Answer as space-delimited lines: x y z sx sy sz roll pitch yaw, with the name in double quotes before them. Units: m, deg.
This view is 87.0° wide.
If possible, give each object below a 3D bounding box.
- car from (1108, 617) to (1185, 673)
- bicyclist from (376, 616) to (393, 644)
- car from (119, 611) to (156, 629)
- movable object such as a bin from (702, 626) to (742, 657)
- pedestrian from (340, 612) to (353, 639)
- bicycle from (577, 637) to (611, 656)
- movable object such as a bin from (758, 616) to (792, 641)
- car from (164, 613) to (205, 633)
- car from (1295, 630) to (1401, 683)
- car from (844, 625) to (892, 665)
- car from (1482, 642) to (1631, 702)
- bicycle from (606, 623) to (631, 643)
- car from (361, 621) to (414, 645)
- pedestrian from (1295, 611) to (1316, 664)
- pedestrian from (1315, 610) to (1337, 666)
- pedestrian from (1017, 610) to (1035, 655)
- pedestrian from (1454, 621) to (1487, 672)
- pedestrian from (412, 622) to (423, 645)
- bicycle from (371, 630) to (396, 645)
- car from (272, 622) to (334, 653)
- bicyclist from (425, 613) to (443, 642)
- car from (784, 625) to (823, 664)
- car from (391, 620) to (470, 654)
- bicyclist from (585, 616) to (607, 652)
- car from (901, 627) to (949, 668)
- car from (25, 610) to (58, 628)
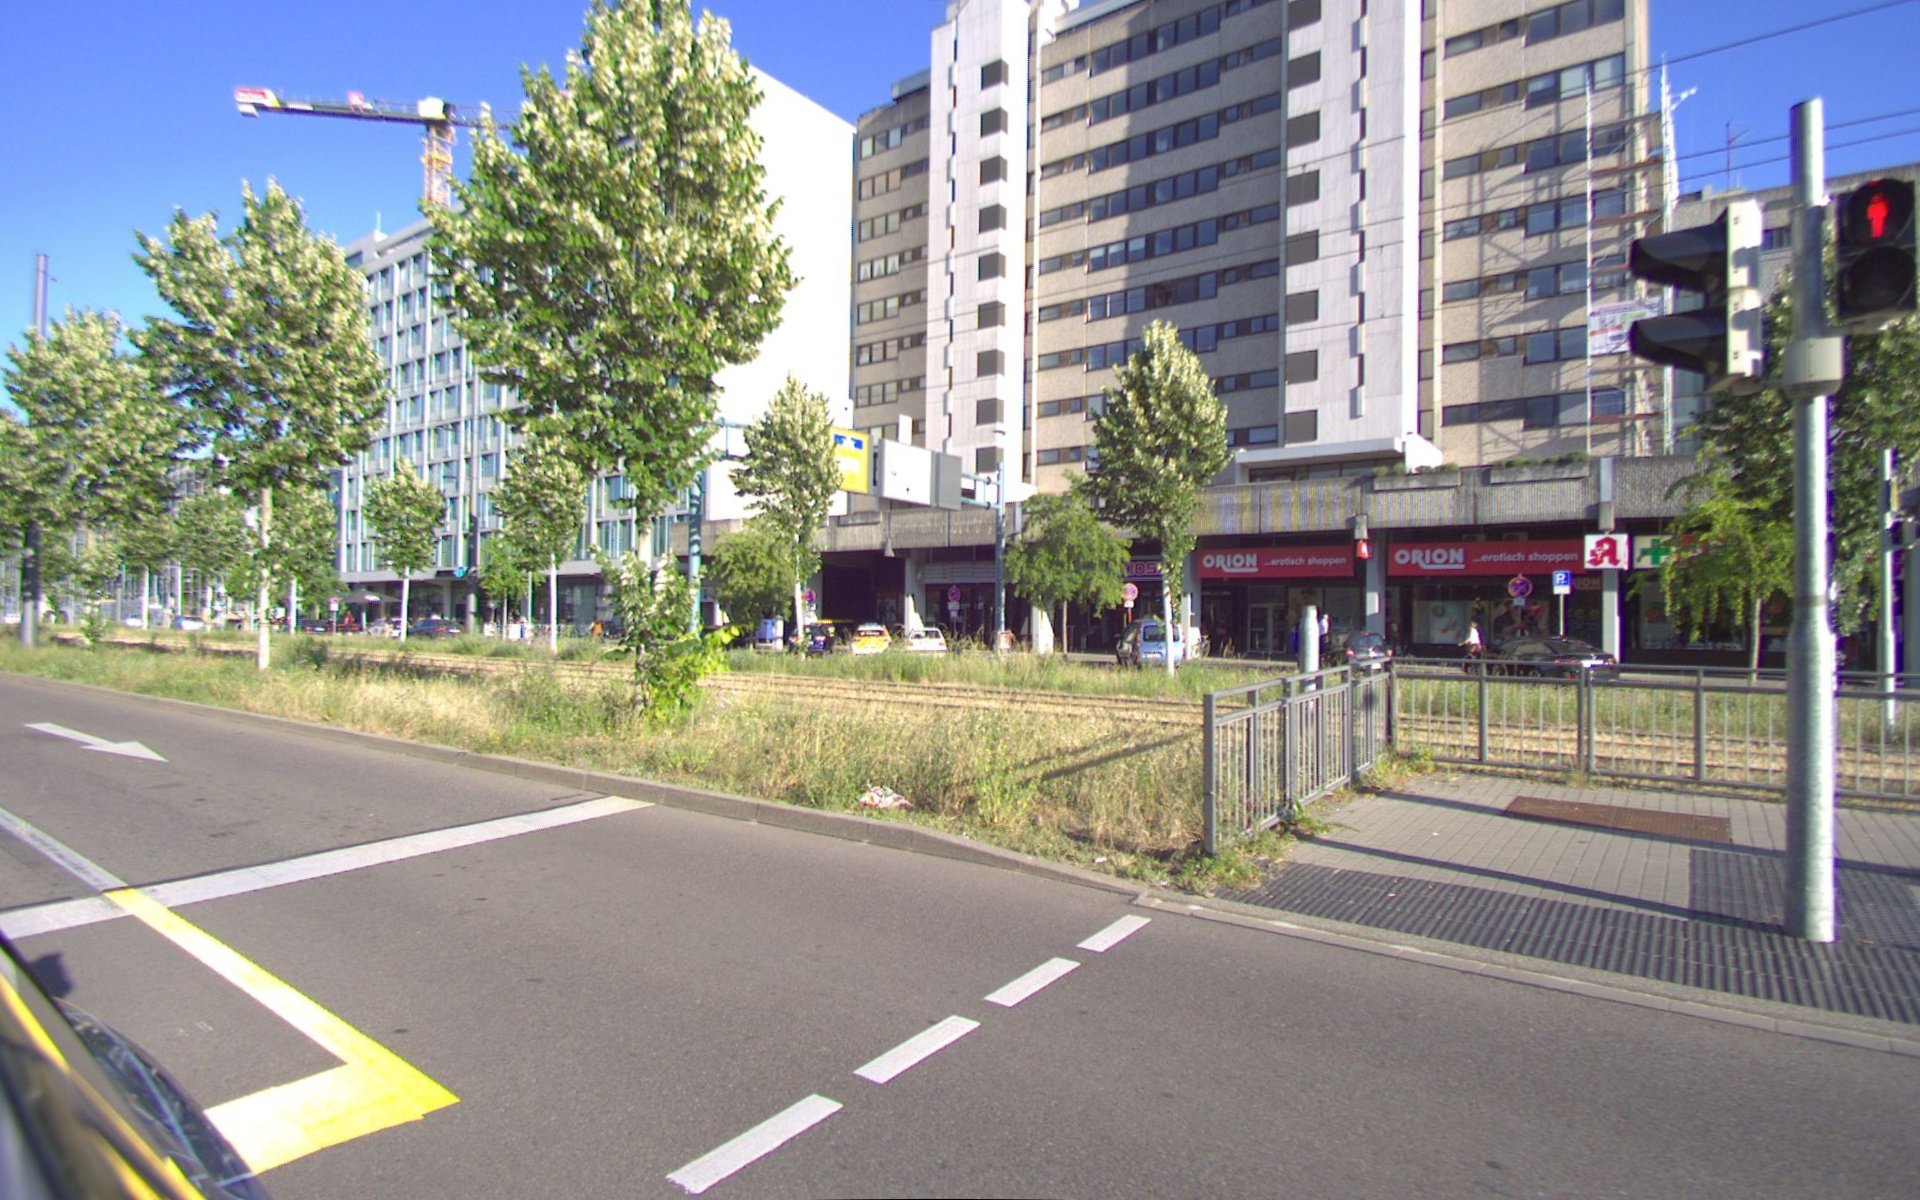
"car" 6.354 1.494 34.961 1.597 1.703 4.201 0 0 -4
"bicyclist" -34.805 1.814 61.204 0.917 1.669 0.533 -1 -2 35
"car" -75.505 1.796 92.896 3.477 1.603 1.852 0 0 37
"movable object such as a bin" -11.040 1.903 46.901 1.169 1.382 1.374 -1 -2 35
"pedestrian" -47.293 1.954 78.027 0.725 2.029 0.614 -1 -2 37
"bicycle" -18.039 2.291 49.894 2.098 0.869 0.432 0 -2 35
"movable object such as a bin" -10.300 1.602 56.429 1.231 1.344 1.374 -1 -2 35
"car" -59.607 1.737 77.769 3.873 1.388 1.594 0 0 37
"car" 11.952 1.716 31.407 1.596 1.412 3.472 0 0 -7
"car" -3.888 1.845 42.335 1.761 1.455 3.809 0 0 -9
"car" 15.686 1.857 26.817 1.596 1.283 3.472 0 0 -7
"bicycle" -21.735 2.089 64.402 1.712 1.239 0.391 0 -2 28
"car" -38.259 2.199 67.619 3.384 1.477 1.852 0 0 37
"pedestrian" 13.288 1.428 38.920 0.653 2.029 0.542 -1 -2 36
"pedestrian" 13.467 1.391 37.256 0.653 2.029 0.542 -1 -2 36
"pedestrian" 3.043 1.490 46.662 0.653 2.029 0.542 -1 -2 36
"pedestrian" 16.814 1.520 33.322 0.881 1.652 0.767 0 -2 36
"pedestrian" -38.378 2.372 71.579 0.596 1.648 0.473 -1 -2 37
"bicycle" -34.949 2.258 61.367 2.098 0.869 0.432 0 -2 35
"car" -40.880 2.296 62.965 4.481 1.715 1.852 0 0 37
"bicyclist" -31.084 1.613 59.762 0.917 1.669 0.533 -1 -2 35
"car" -6.895 1.924 44.676 1.595 1.455 4.556 0 0 -9
"car" -27.345 1.866 52.207 4.631 1.600 1.852 0 0 37
"bicyclist" -17.903 1.674 49.774 0.917 1.758 0.552 -1 -2 35
"car" -1.467 1.874 40.816 1.596 1.455 3.799 0 0 -7
"car" -94.819 1.919 104.429 3.786 1.765 1.852 0 0 37
